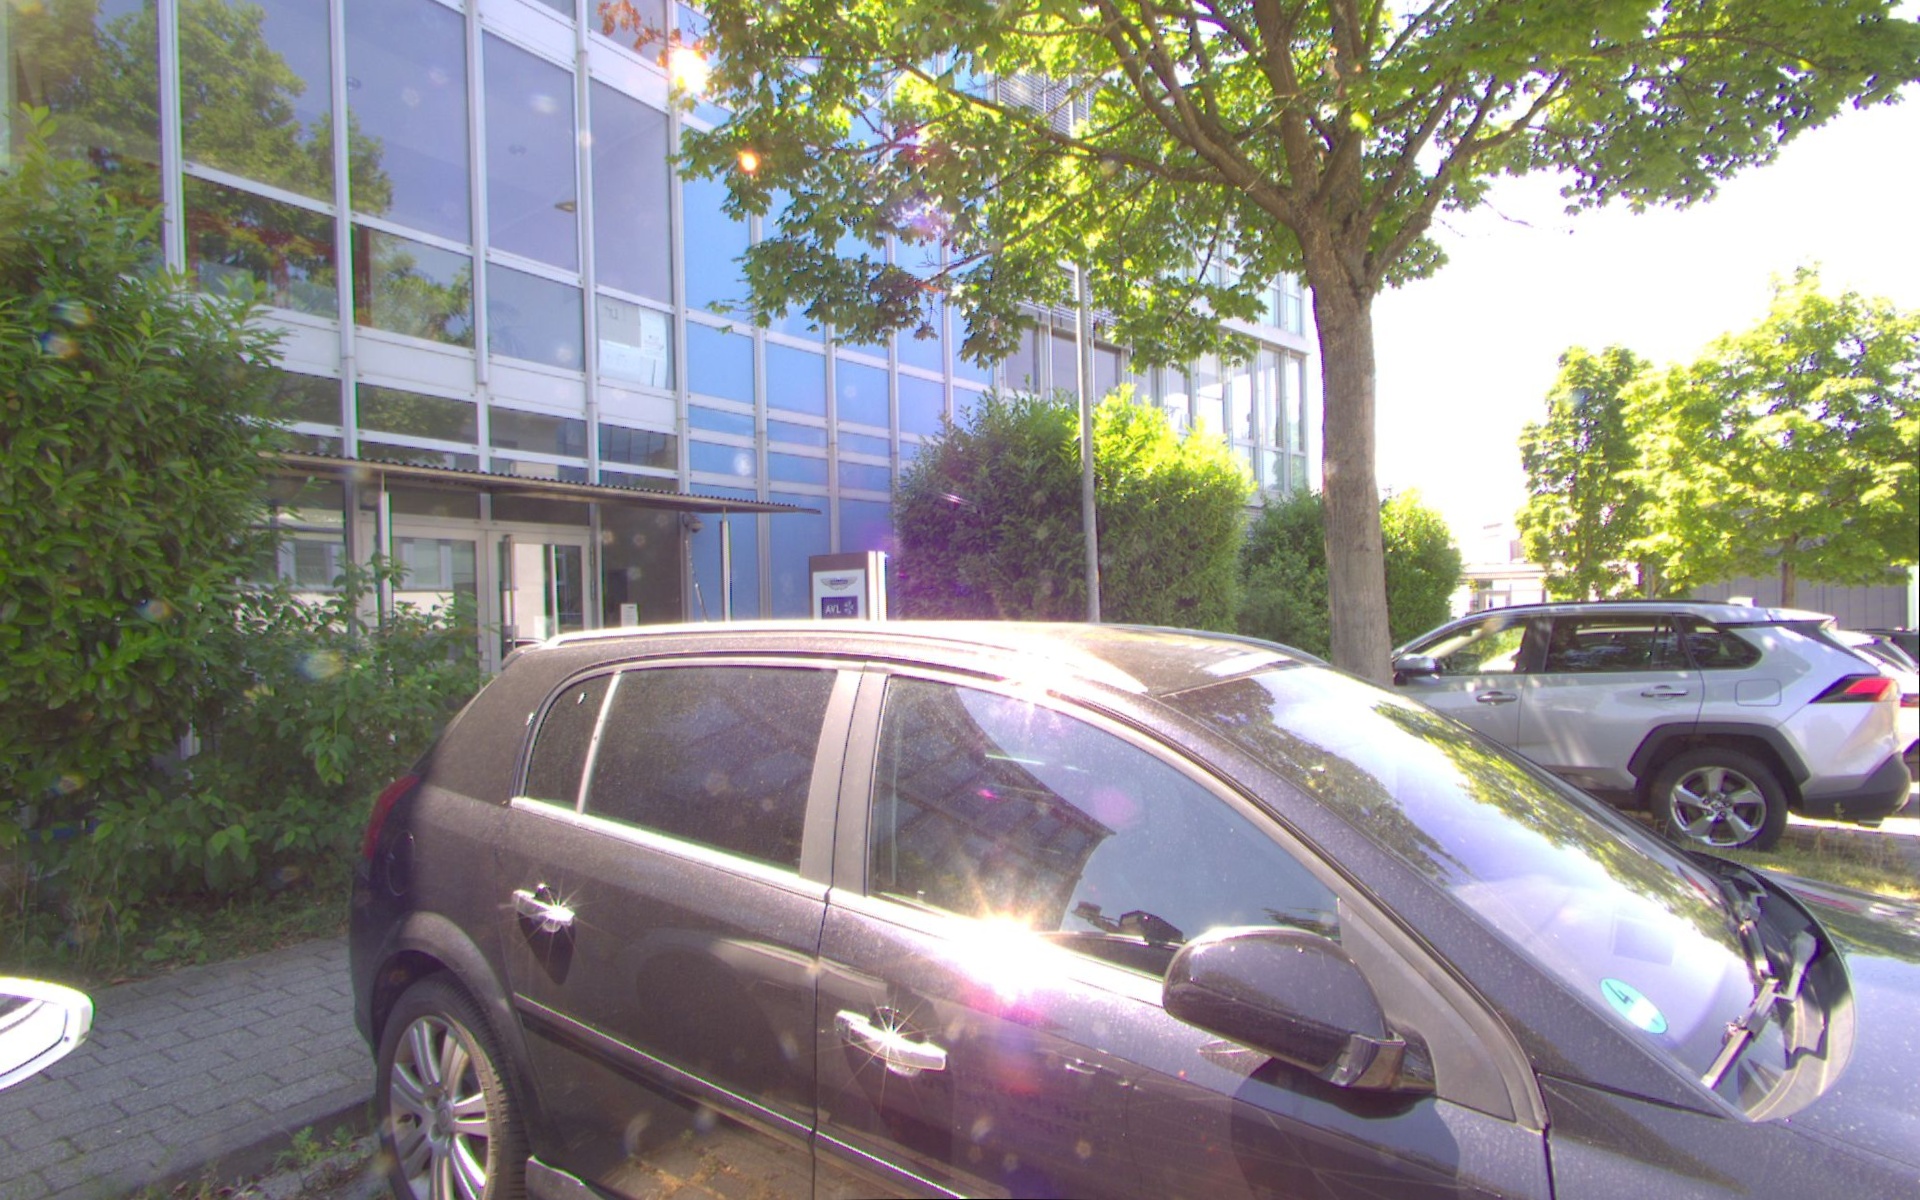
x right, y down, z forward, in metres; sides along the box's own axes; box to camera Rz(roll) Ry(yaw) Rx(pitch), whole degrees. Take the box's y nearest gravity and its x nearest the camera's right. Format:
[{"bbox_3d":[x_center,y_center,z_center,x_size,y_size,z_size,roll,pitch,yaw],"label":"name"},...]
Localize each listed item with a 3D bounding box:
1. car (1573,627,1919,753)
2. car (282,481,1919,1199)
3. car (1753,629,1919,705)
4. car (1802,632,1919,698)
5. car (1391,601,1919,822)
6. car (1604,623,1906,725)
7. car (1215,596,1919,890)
[{"bbox_3d":[11.408,1.193,14.420,1.645,1.505,4.136,2,-1,-44],"label":"car"},{"bbox_3d":[0.457,0.728,2.127,4.506,1.569,1.753,-1,-2,36],"label":"car"},{"bbox_3d":[20.193,1.458,22.363,1.614,1.545,3.566,1,-1,-34],"label":"car"},{"bbox_3d":[22.262,1.520,23.481,1.614,1.462,3.566,1,-1,-34],"label":"car"},{"bbox_3d":[6.450,0.870,9.372,4.150,1.664,1.649,0,-1,39],"label":"car"},{"bbox_3d":[14.667,1.287,18.692,1.641,1.626,4.145,1,-1,-38],"label":"car"},{"bbox_3d":[4.377,0.833,7.759,4.278,1.664,1.844,0,-1,39],"label":"car"}]
